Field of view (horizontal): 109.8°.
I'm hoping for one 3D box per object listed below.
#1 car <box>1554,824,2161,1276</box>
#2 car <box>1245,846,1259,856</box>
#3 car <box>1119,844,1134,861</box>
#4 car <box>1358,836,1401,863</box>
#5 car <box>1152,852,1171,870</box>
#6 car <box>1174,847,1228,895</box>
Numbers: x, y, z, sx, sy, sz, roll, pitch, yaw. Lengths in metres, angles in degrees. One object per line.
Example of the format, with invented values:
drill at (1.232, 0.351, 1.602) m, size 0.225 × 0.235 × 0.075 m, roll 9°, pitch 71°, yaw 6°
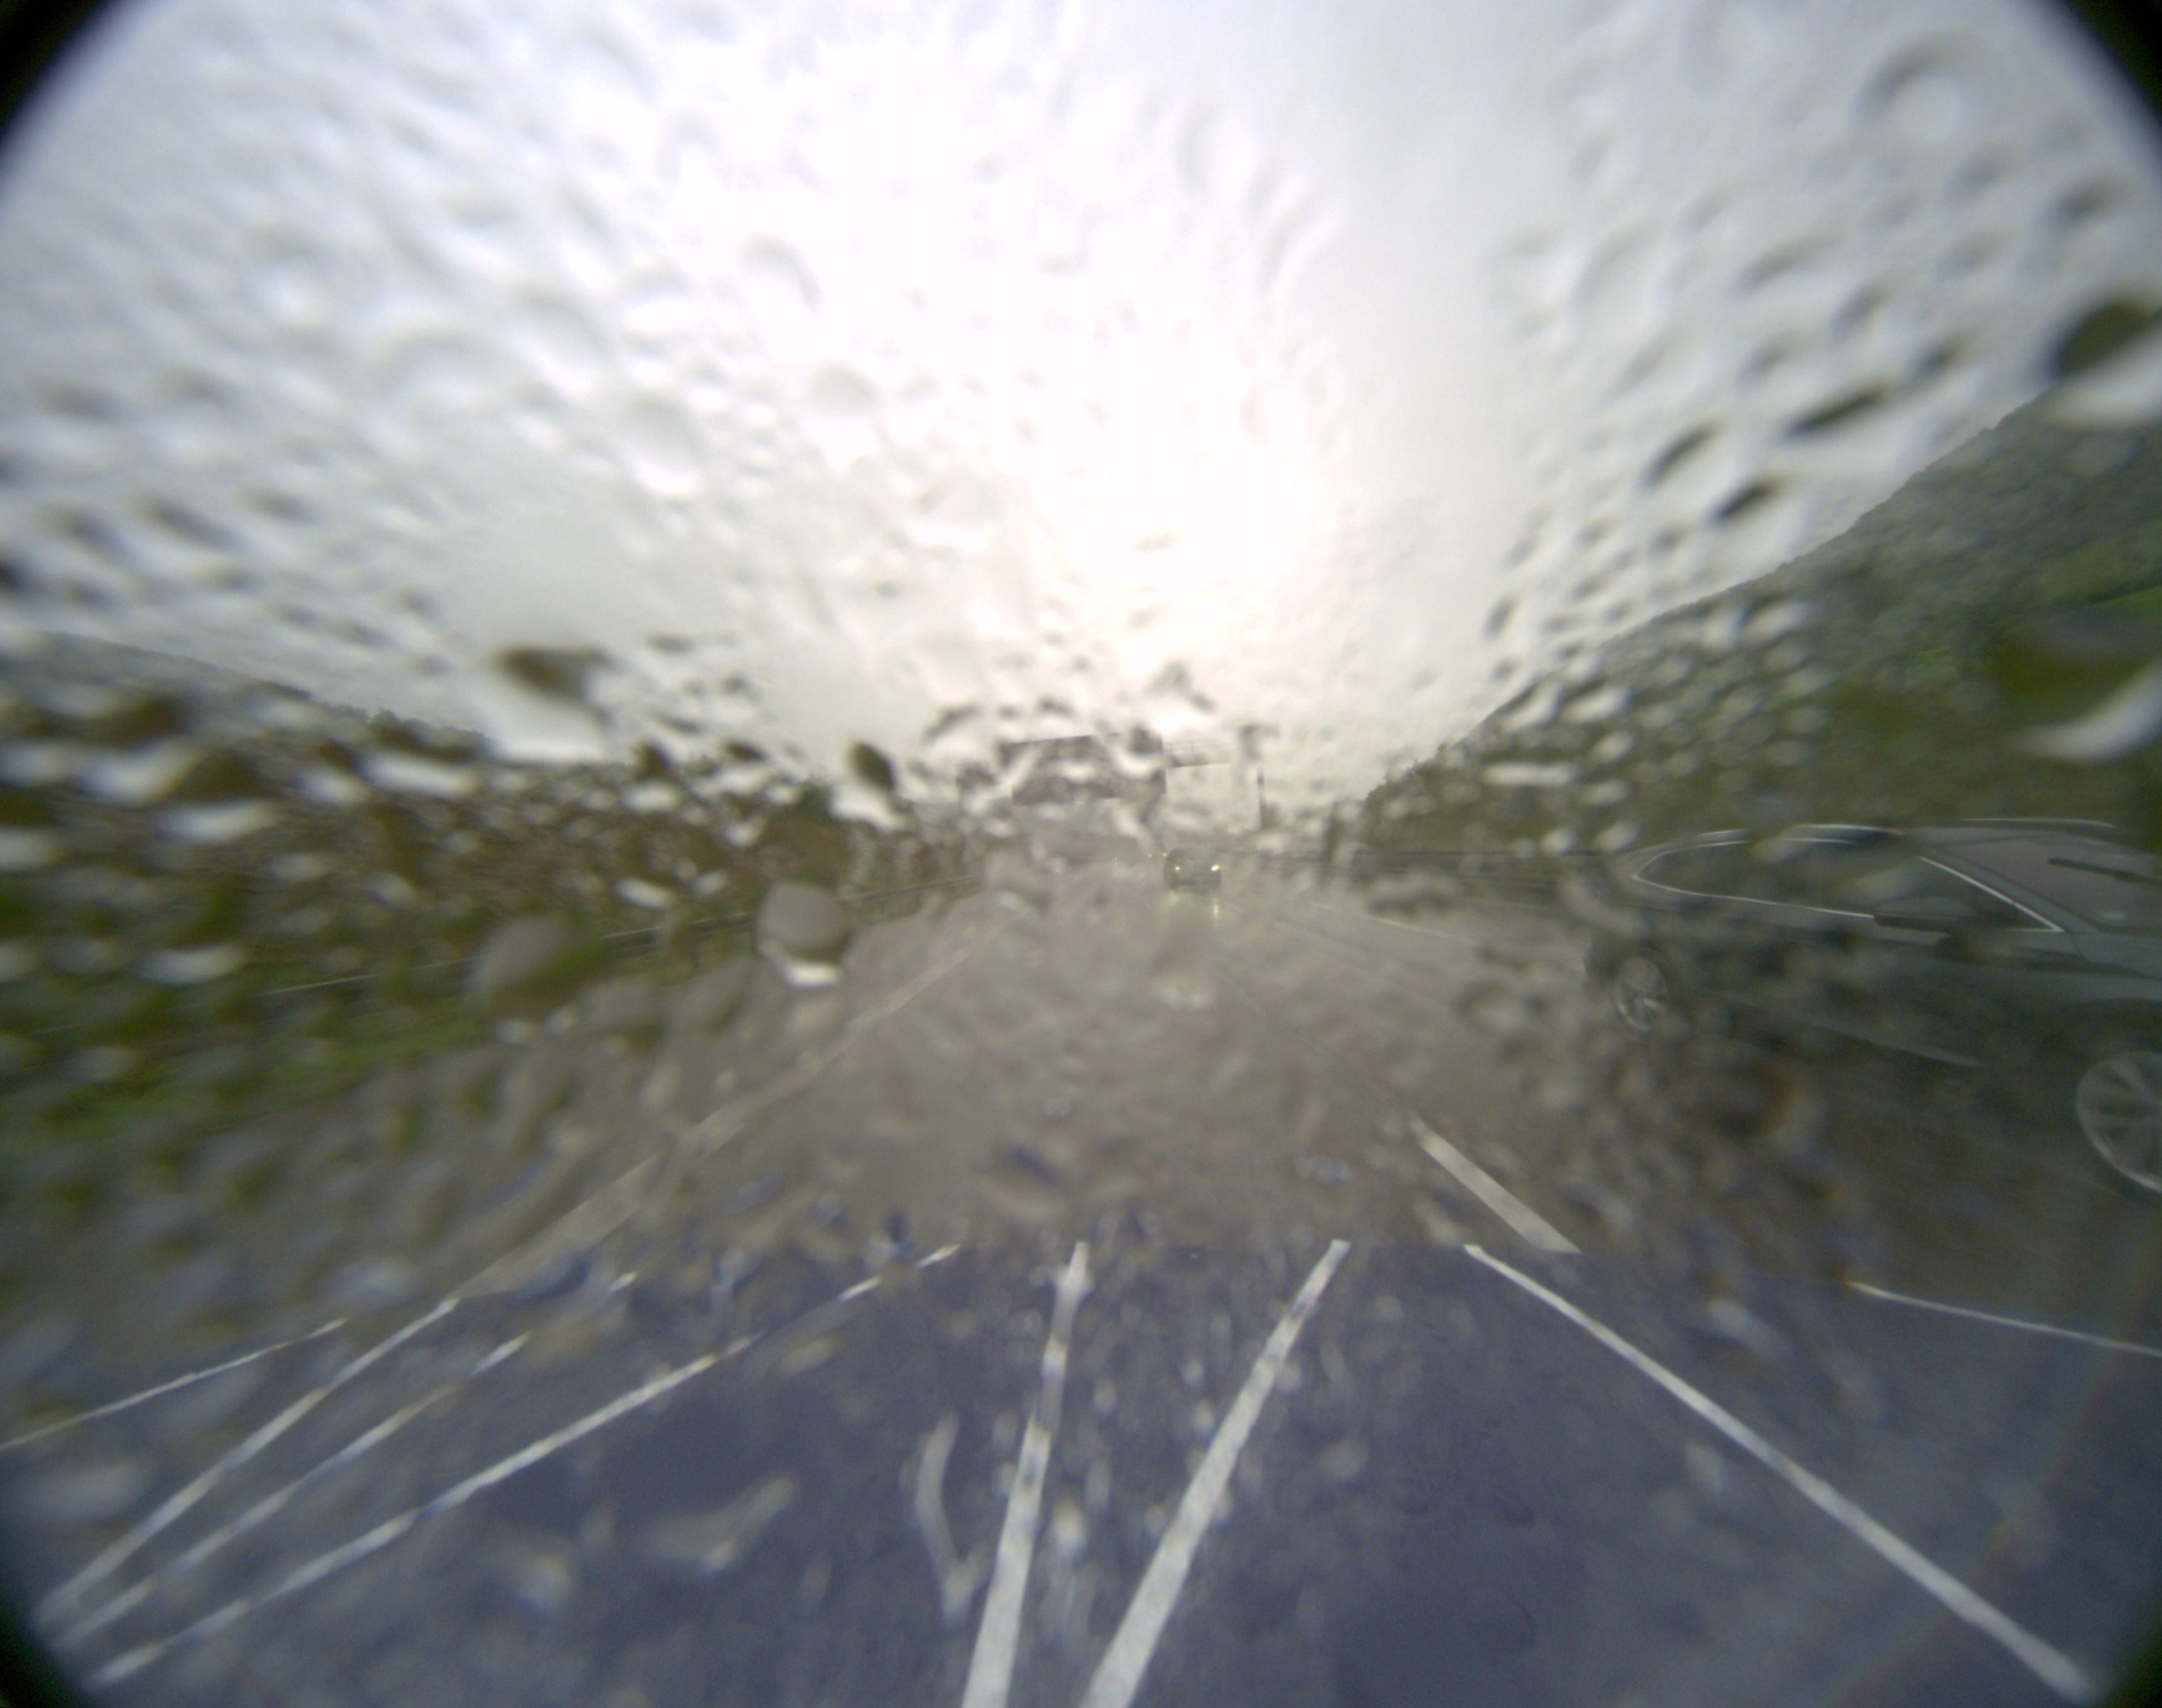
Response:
car at (4.969, 0.696, 3.892) m, size 1.999 × 1.673 × 4.908 m, roll -1°, pitch 1°, yaw -1°
car at (30.742, -0.548, 136.900) m, size 1.780 × 1.682 × 4.000 m, roll -2°, pitch 0°, yaw 3°
car at (6.097, -0.221, 102.456) m, size 1.835 × 2.002 × 3.938 m, roll -4°, pitch 1°, yaw 2°
car at (21.589, -0.332, 55.103) m, size 1.683 × 1.783 × 3.683 m, roll -2°, pitch 0°, yaw 2°
car at (9.525, 0.861, 90.154) m, size 1.987 × 2.002 × 3.934 m, roll -2°, pitch 0°, yaw 2°
car at (4.792, 0.630, 30.672) m, size 1.814 × 1.692 × 3.749 m, roll -4°, pitch 1°, yaw 5°
